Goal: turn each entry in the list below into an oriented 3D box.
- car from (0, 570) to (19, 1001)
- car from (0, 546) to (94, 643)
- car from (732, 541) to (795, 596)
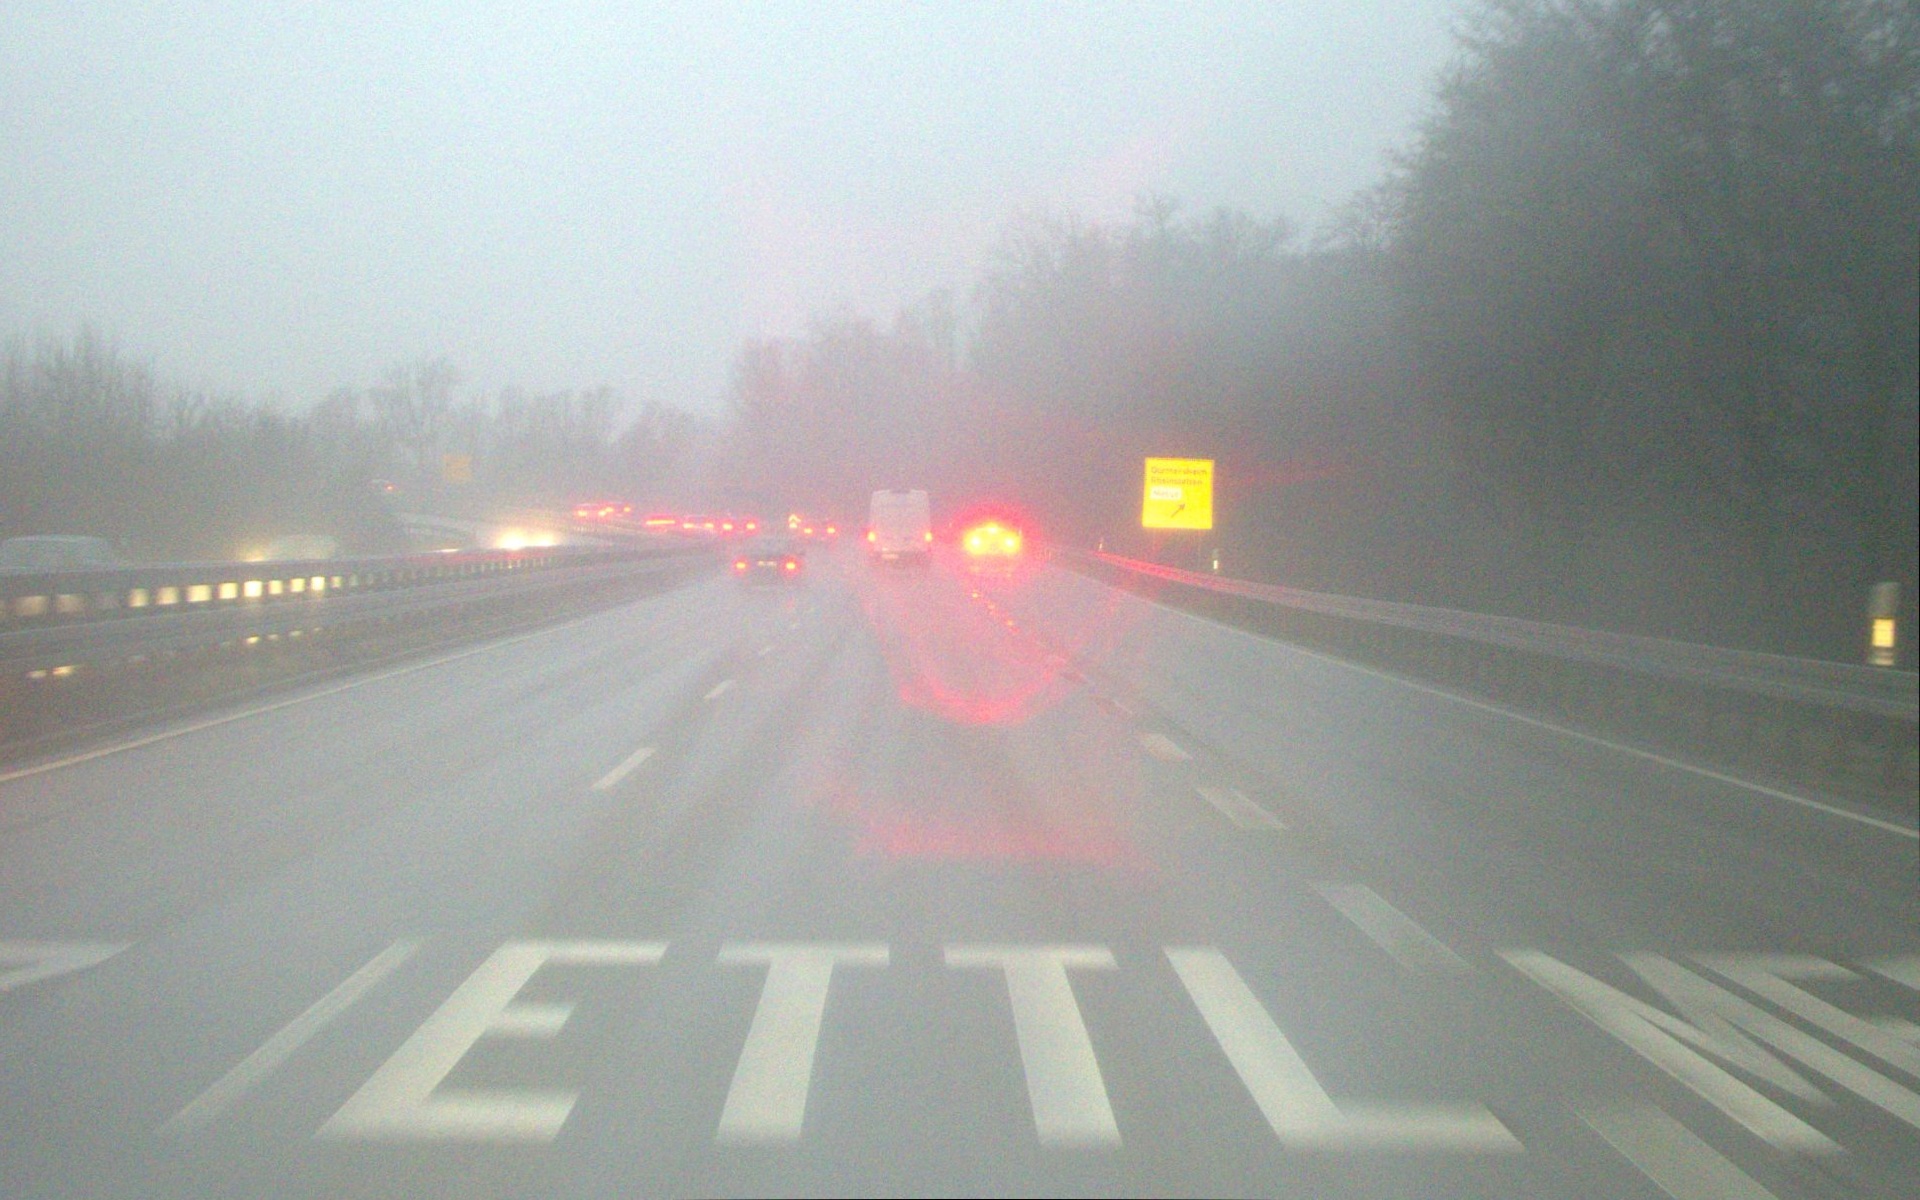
[{"bbox_3d":[-3.830,0.590,9.107,1.625,1.387,4.000,2,1,-2],"label":"car"},{"bbox_3d":[-14.842,-0.108,53.915,1.615,1.459,3.645,1,1,-1],"label":"car"},{"bbox_3d":[-4.948,-0.819,86.892,1.416,1.312,3.083,2,1,0],"label":"car"}]
